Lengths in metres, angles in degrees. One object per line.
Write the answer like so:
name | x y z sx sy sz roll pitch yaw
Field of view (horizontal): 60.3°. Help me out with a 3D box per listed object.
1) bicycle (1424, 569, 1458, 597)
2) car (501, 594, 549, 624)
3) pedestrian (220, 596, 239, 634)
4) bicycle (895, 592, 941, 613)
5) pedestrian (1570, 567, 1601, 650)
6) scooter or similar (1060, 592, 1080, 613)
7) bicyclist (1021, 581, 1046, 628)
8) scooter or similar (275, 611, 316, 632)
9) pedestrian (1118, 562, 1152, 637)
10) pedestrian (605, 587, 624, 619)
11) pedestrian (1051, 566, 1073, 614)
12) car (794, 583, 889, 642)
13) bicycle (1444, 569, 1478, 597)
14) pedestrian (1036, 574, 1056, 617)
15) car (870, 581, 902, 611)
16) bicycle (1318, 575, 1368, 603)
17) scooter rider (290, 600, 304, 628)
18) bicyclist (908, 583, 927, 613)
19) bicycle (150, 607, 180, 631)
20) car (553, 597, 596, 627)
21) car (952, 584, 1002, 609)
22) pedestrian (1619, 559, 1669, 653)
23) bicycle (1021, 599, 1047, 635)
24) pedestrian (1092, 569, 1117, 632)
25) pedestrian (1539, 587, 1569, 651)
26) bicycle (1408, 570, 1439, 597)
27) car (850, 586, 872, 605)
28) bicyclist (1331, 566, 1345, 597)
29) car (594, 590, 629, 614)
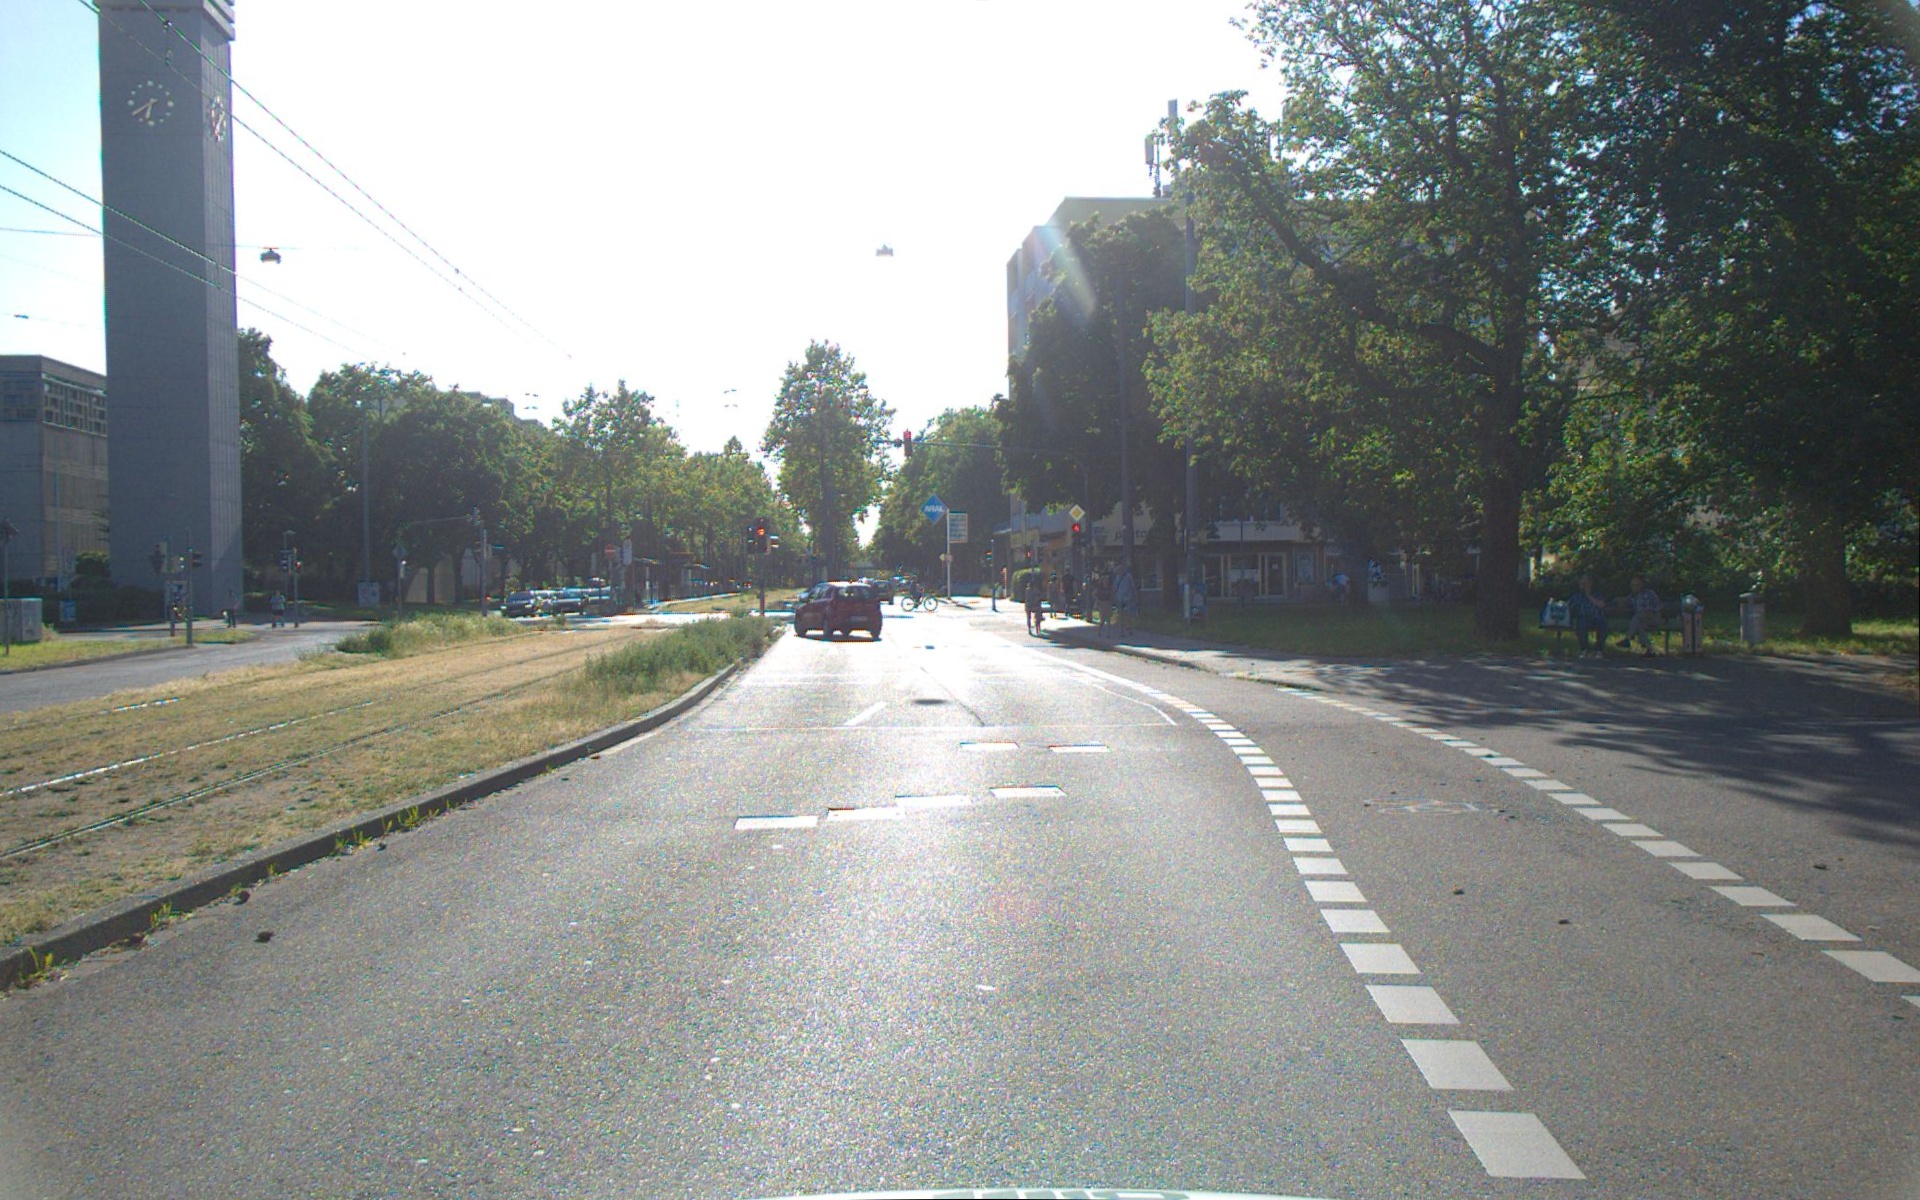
bicycle | 19.075 -0.682 65.593 0.585 1.052 2.005 1 1 -4
car | -24.336 0.497 92.645 1.771 1.559 4.358 -1 1 -4
pedestrian | -32.857 0.682 74.383 0.433 1.695 0.747 1 0 6
bicycle | -2.167 0.114 85.188 2.203 1.004 0.790 0 6 11
pedestrian | 9.631 0.124 25.463 0.395 1.247 0.761 1 1 22
scooter or similar | 3.945 0.090 59.333 0.586 0.750 0.681 1 1 -5
bicyclist | 2.141 0.133 48.250 0.625 1.346 0.803 1 0 -2
scooter or similar | -30.286 0.975 75.408 1.709 0.915 0.560 -2 1 -20
pedestrian | 4.421 -0.027 41.810 0.688 1.820 0.694 -3 2 1
pedestrian | -17.921 0.155 85.729 0.873 1.634 0.613 1 0 -4
pedestrian | 3.682 -0.349 59.936 0.714 1.711 0.533 1 0 8
car | -3.360 0.319 46.388 1.670 1.534 3.676 0 1 -21
bicycle | 19.742 -0.670 65.262 0.585 1.052 1.989 1 1 -4
pedestrian | 3.123 -0.176 59.892 0.633 1.549 0.496 1 0 8
car | -4.959 -0.289 110.145 1.930 1.892 3.996 1 1 -6
bicycle | 19.947 -0.577 86.169 2.422 1.424 0.607 1 0 -5
scooter rider | -30.244 0.637 75.421 0.517 1.239 0.584 1 0 -18
bicyclist | -2.188 -0.115 85.176 0.752 1.496 0.899 -2 2 13
bicycle | -37.102 0.899 77.162 0.480 1.064 1.684 1 1 3
car | -21.709 0.651 93.259 1.654 1.559 4.358 -1 1 -4
car | 1.432 -0.303 136.881 3.902 1.892 2.013 1 1 7
pedestrian | 10.480 0.089 25.347 0.671 1.397 0.755 1 1 22
bicycle | 2.143 0.476 48.186 0.635 0.989 1.803 1 1 -1
pedestrian | 3.671 0.014 41.982 0.518 1.555 0.627 -3 0 1
pedestrian | 9.199 0.287 25.611 0.395 0.950 0.623 1 3 22
bicycle | 18.396 -0.670 65.631 0.585 1.052 1.794 1 1 -4
car | -8.908 -0.408 148.441 1.857 1.639 4.496 1 1 -5
bicyclist | 19.547 -0.942 85.542 0.517 1.594 0.463 1 0 -7
car | -21.812 0.123 103.620 1.535 1.426 3.912 1 0 -4
